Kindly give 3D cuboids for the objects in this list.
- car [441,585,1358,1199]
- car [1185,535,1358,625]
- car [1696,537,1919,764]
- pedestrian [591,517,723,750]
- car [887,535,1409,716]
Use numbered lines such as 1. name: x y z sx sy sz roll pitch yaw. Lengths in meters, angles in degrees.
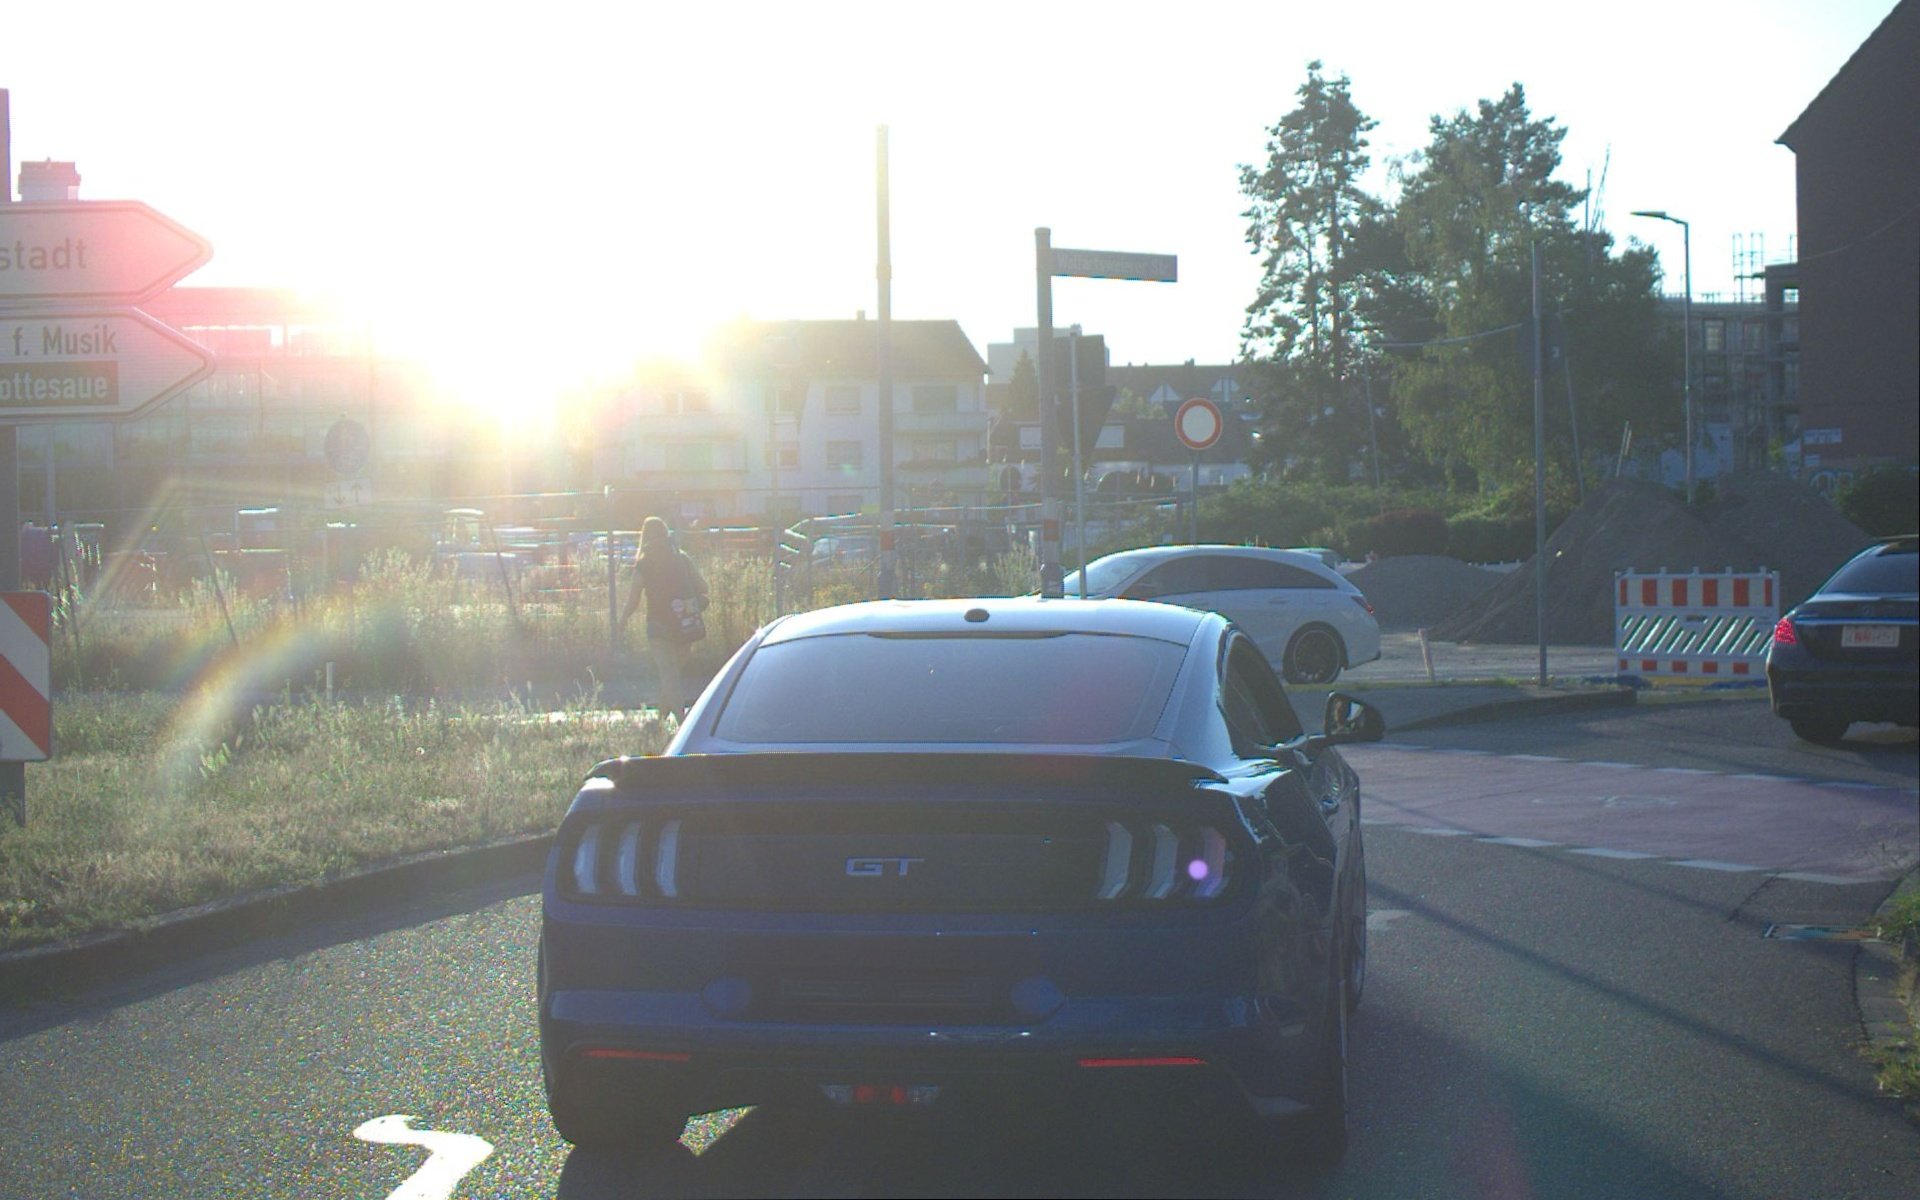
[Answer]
1. car: 0.121 0.668 9.577 1.952 1.337 4.670 0 1 7
2. car: 6.137 -0.409 68.085 1.993 1.700 4.001 -1 1 -18
3. car: 7.129 0.286 24.352 1.956 1.422 4.420 1 2 39
4. pedestrian: -2.248 0.229 25.450 0.843 1.680 0.887 -1 1 -12
5. car: 1.850 0.198 33.594 4.641 1.448 2.076 -3 3 -27
